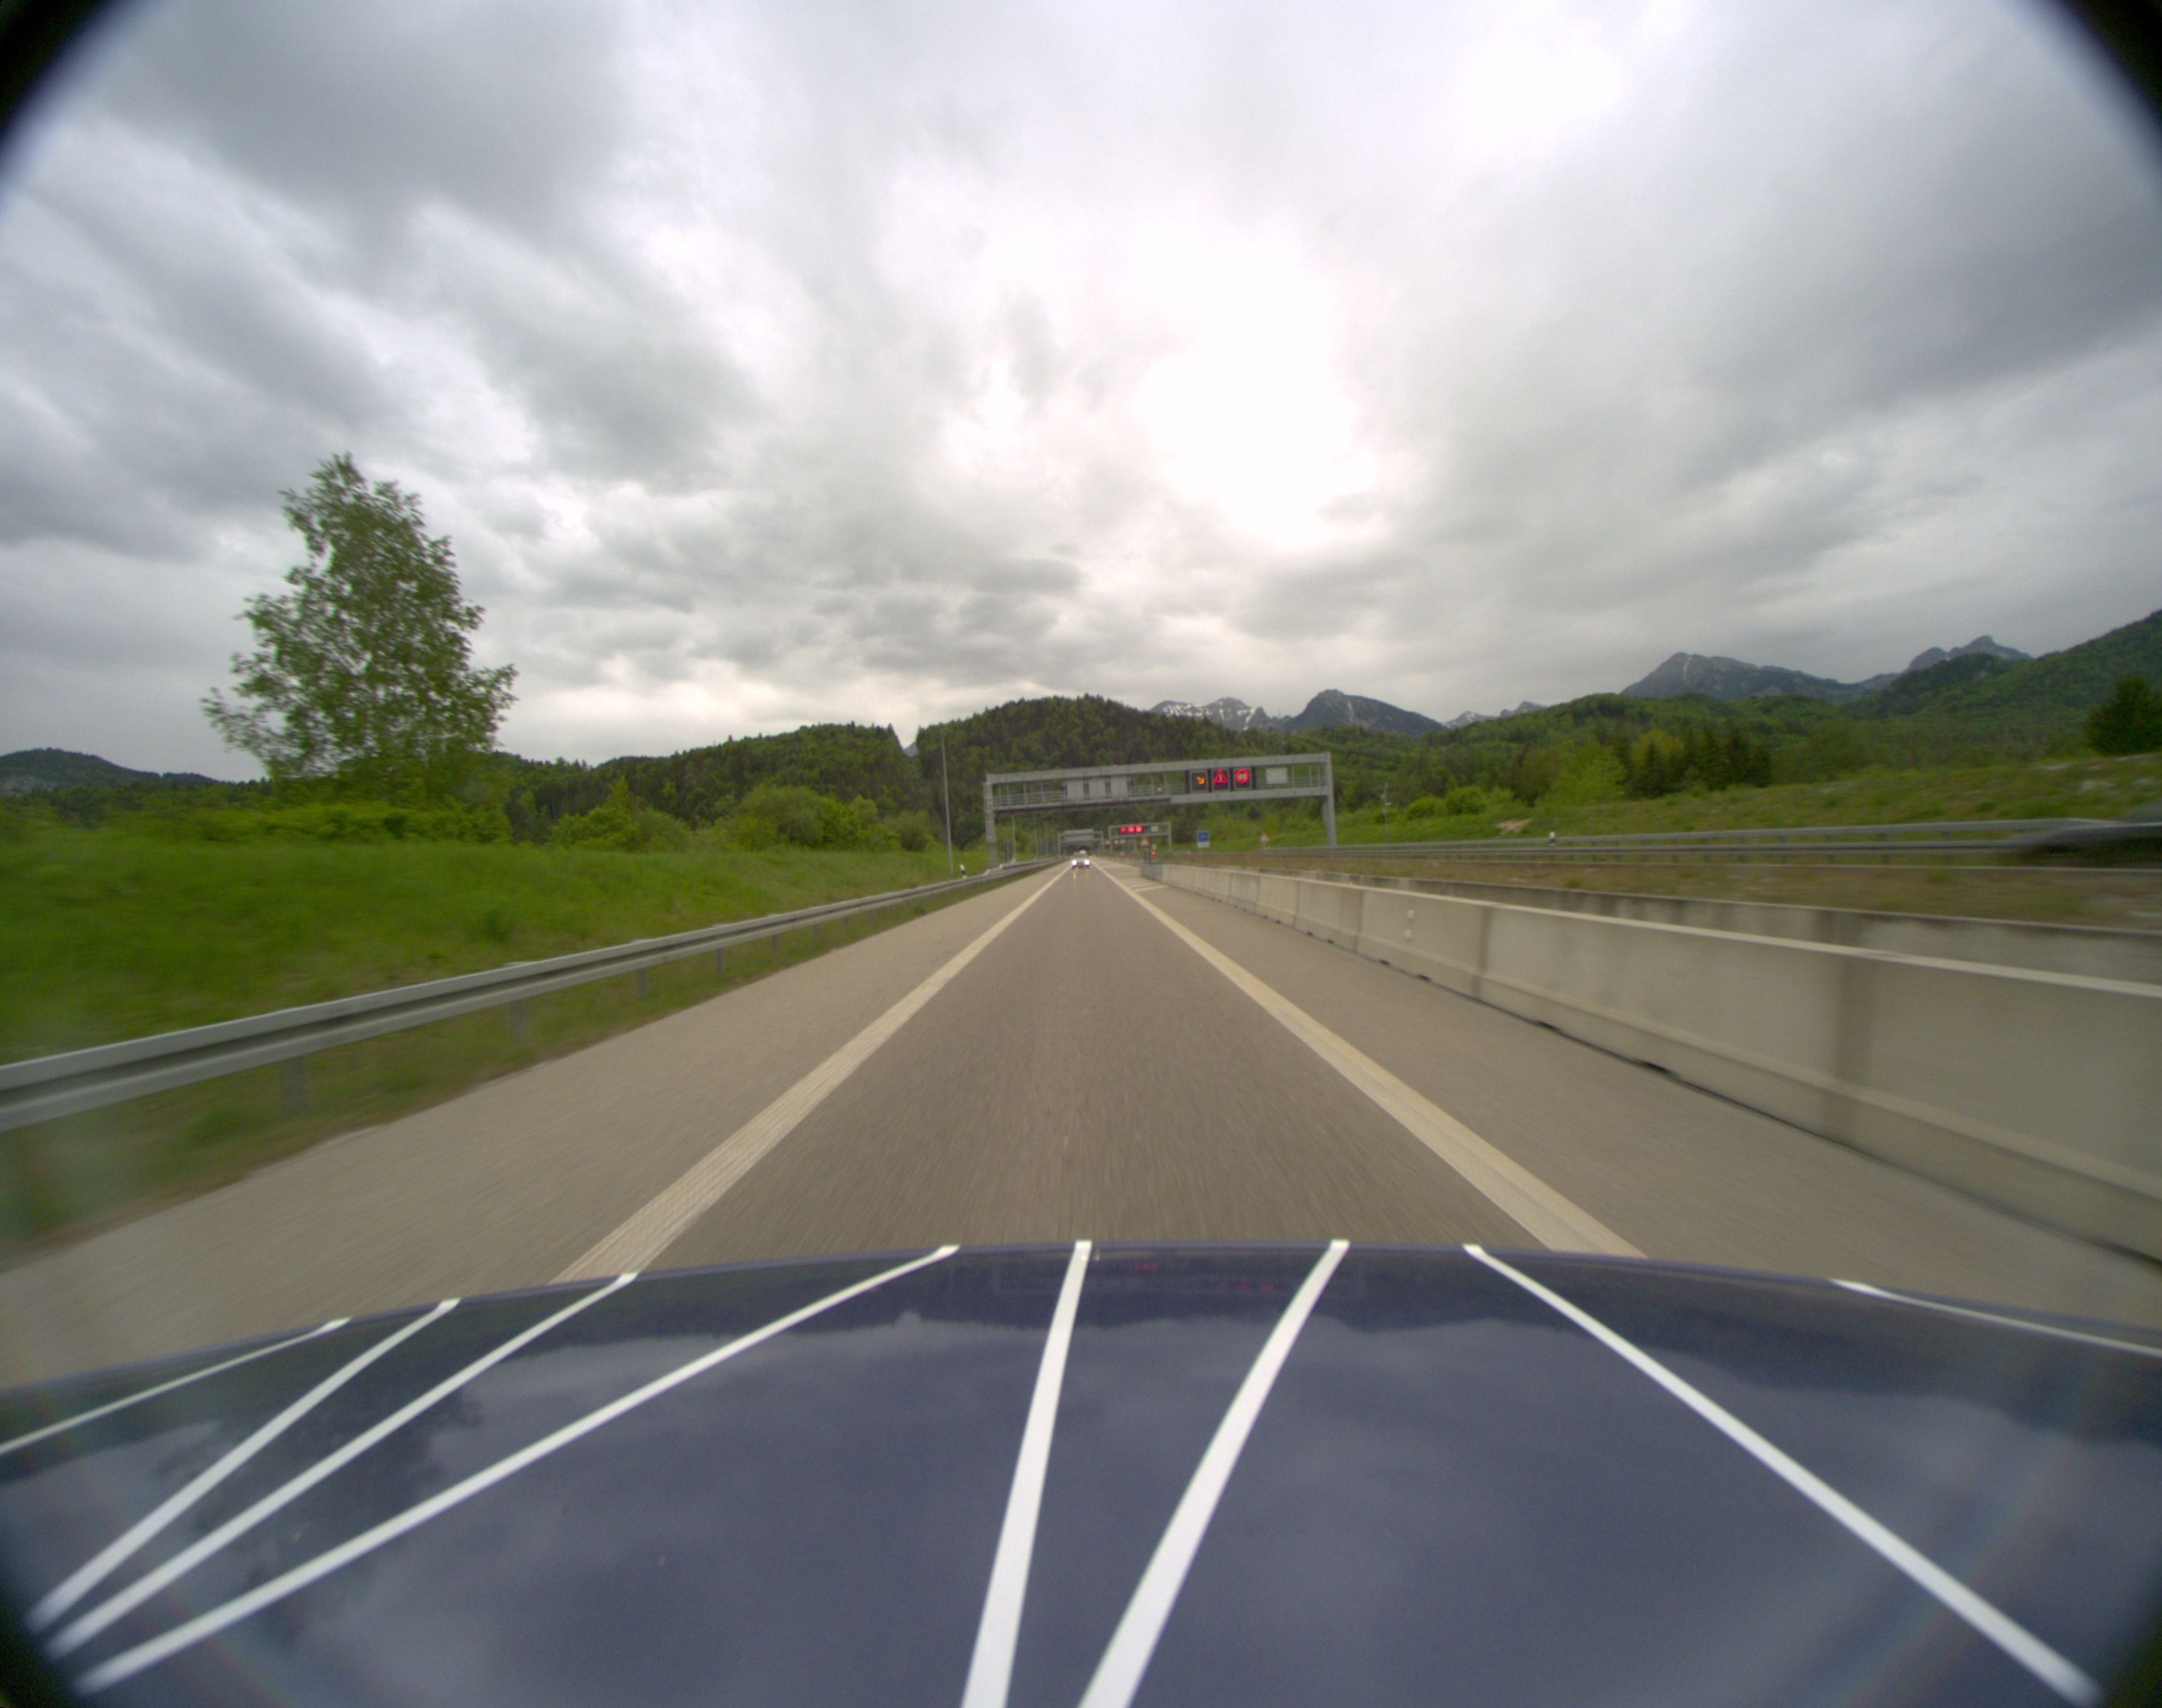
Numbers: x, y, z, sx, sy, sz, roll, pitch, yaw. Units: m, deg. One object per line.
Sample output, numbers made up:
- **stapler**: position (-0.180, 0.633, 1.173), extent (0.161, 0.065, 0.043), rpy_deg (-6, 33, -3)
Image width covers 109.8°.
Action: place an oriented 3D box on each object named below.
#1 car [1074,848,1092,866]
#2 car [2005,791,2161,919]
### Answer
- **car**: position (0.237, 0.309, 86.688), extent (1.923, 1.871, 5.137), rpy_deg (-2, 2, 0)
- **car**: position (14.314, -0.032, 8.817), extent (1.773, 1.598, 4.405), rpy_deg (-3, 0, 0)
